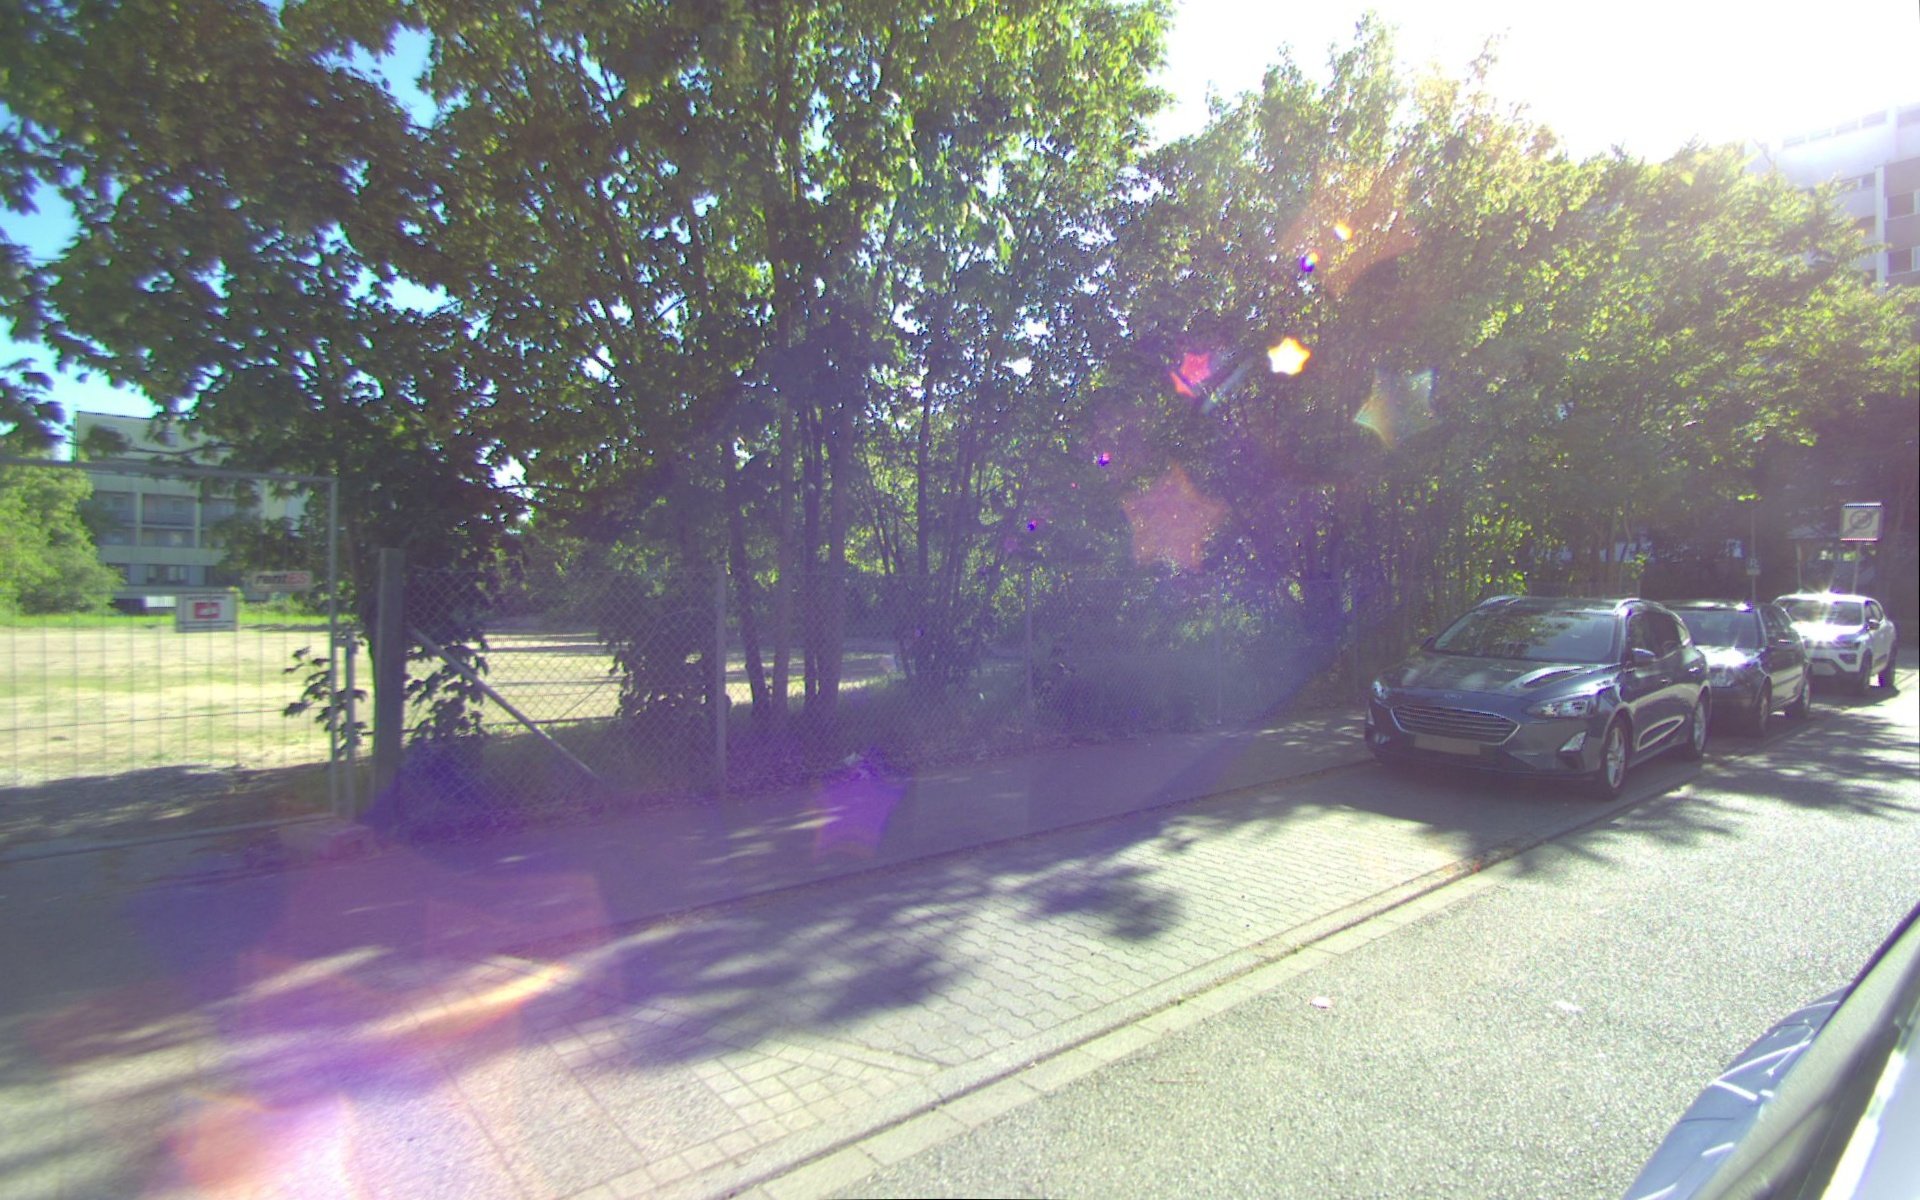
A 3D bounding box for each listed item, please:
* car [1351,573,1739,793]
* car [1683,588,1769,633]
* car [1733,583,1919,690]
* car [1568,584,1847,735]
[{"bbox_3d":[5.254,0.532,8.809,4.364,1.456,1.678,-1,0,-42],"label":"car"},{"bbox_3d":[27.794,0.343,36.689,3.930,1.469,1.714,-2,1,-41],"label":"car"},{"bbox_3d":[14.163,0.508,16.469,4.018,1.469,1.623,-2,1,-39],"label":"car"},{"bbox_3d":[9.003,0.571,12.078,3.997,1.490,1.828,-1,0,-41],"label":"car"}]
